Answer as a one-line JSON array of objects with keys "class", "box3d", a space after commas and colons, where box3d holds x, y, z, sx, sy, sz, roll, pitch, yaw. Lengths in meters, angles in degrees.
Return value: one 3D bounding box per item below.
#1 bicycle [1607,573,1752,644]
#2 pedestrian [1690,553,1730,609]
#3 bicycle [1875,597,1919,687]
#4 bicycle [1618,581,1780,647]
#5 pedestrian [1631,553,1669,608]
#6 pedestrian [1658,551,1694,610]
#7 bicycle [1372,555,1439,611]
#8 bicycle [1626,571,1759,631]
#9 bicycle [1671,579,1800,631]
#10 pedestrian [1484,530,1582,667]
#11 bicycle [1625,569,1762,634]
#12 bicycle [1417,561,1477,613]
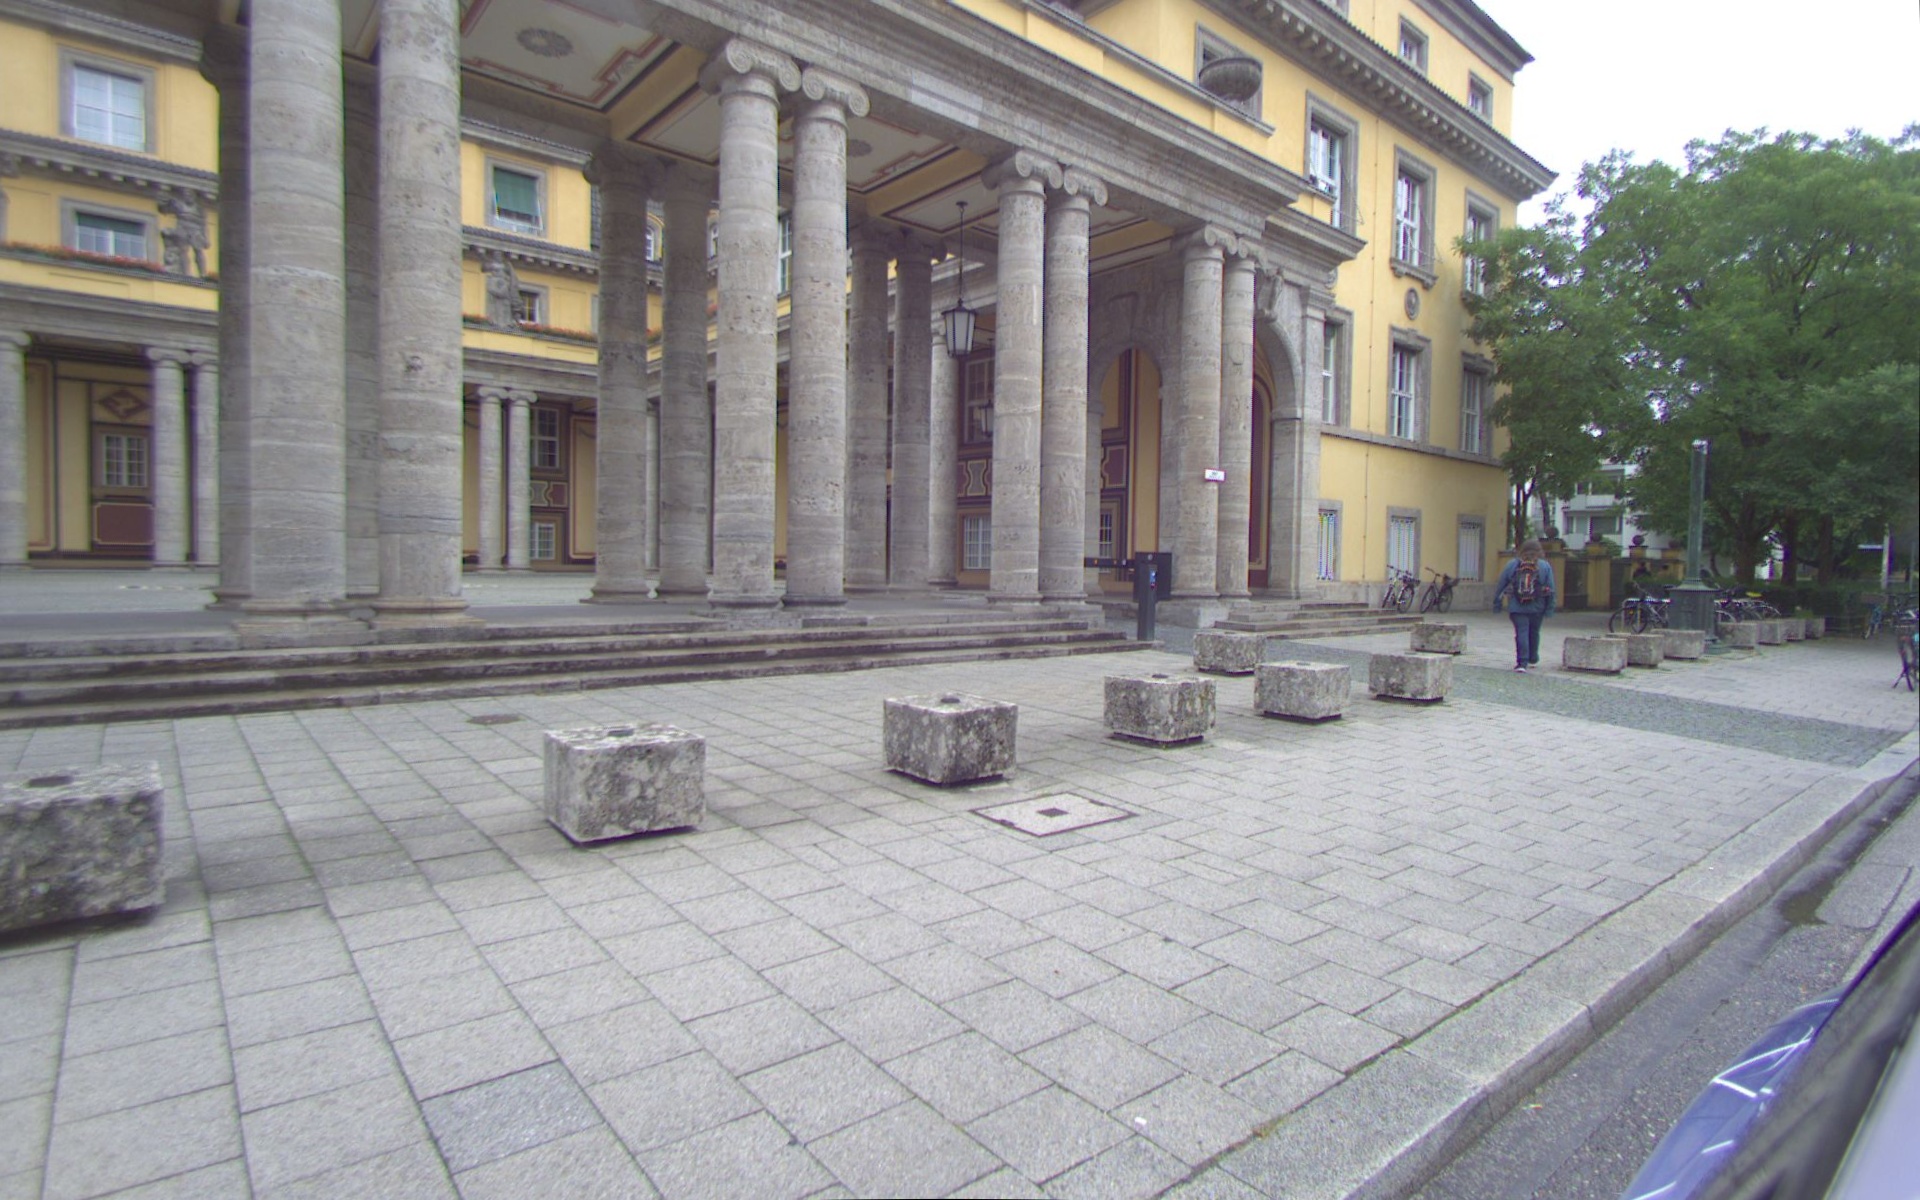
[{"class": "bicycle", "box3d": [14.428, 0.135, 20.348, 2.255, 1.107, 0.593, 9, 8, 39]}, {"class": "pedestrian", "box3d": [26.295, -0.664, 35.470, 1.017, 1.887, 0.782, -1, 6, -41]}, {"class": "bicycle", "box3d": [13.288, 0.558, 13.894, 2.225, 1.113, 0.762, -1, 5, -41]}, {"class": "bicycle", "box3d": [13.959, 0.226, 19.176, 2.362, 1.018, 0.668, 6, 5, 42]}, {"class": "pedestrian", "box3d": [23.151, -0.661, 33.936, 0.827, 1.764, 0.741, -1, 6, -40]}, {"class": "pedestrian", "box3d": [23.608, -0.639, 33.385, 0.806, 1.887, 0.659, -1, 6, -40]}, {"class": "bicycle", "box3d": [11.106, -0.435, 25.195, 2.224, 1.323, 0.601, -1, 3, -41]}, {"class": "bicycle", "box3d": [16.205, -0.007, 22.436, 2.255, 1.035, 0.593, 9, 8, 39]}, {"class": "bicycle", "box3d": [18.016, 0.096, 23.568, 0.591, 1.023, 2.264, 1, 4, -37]}, {"class": "pedestrian", "box3d": [7.737, -0.044, 13.659, 1.037, 1.767, 0.789, -1, 3, -41]}, {"class": "bicycle", "box3d": [15.670, 0.008, 21.678, 2.255, 1.071, 0.593, 9, 8, 39]}, {"class": "bicycle", "box3d": [12.858, -0.352, 26.711, 2.127, 1.323, 0.601, -1, 3, -41]}]
